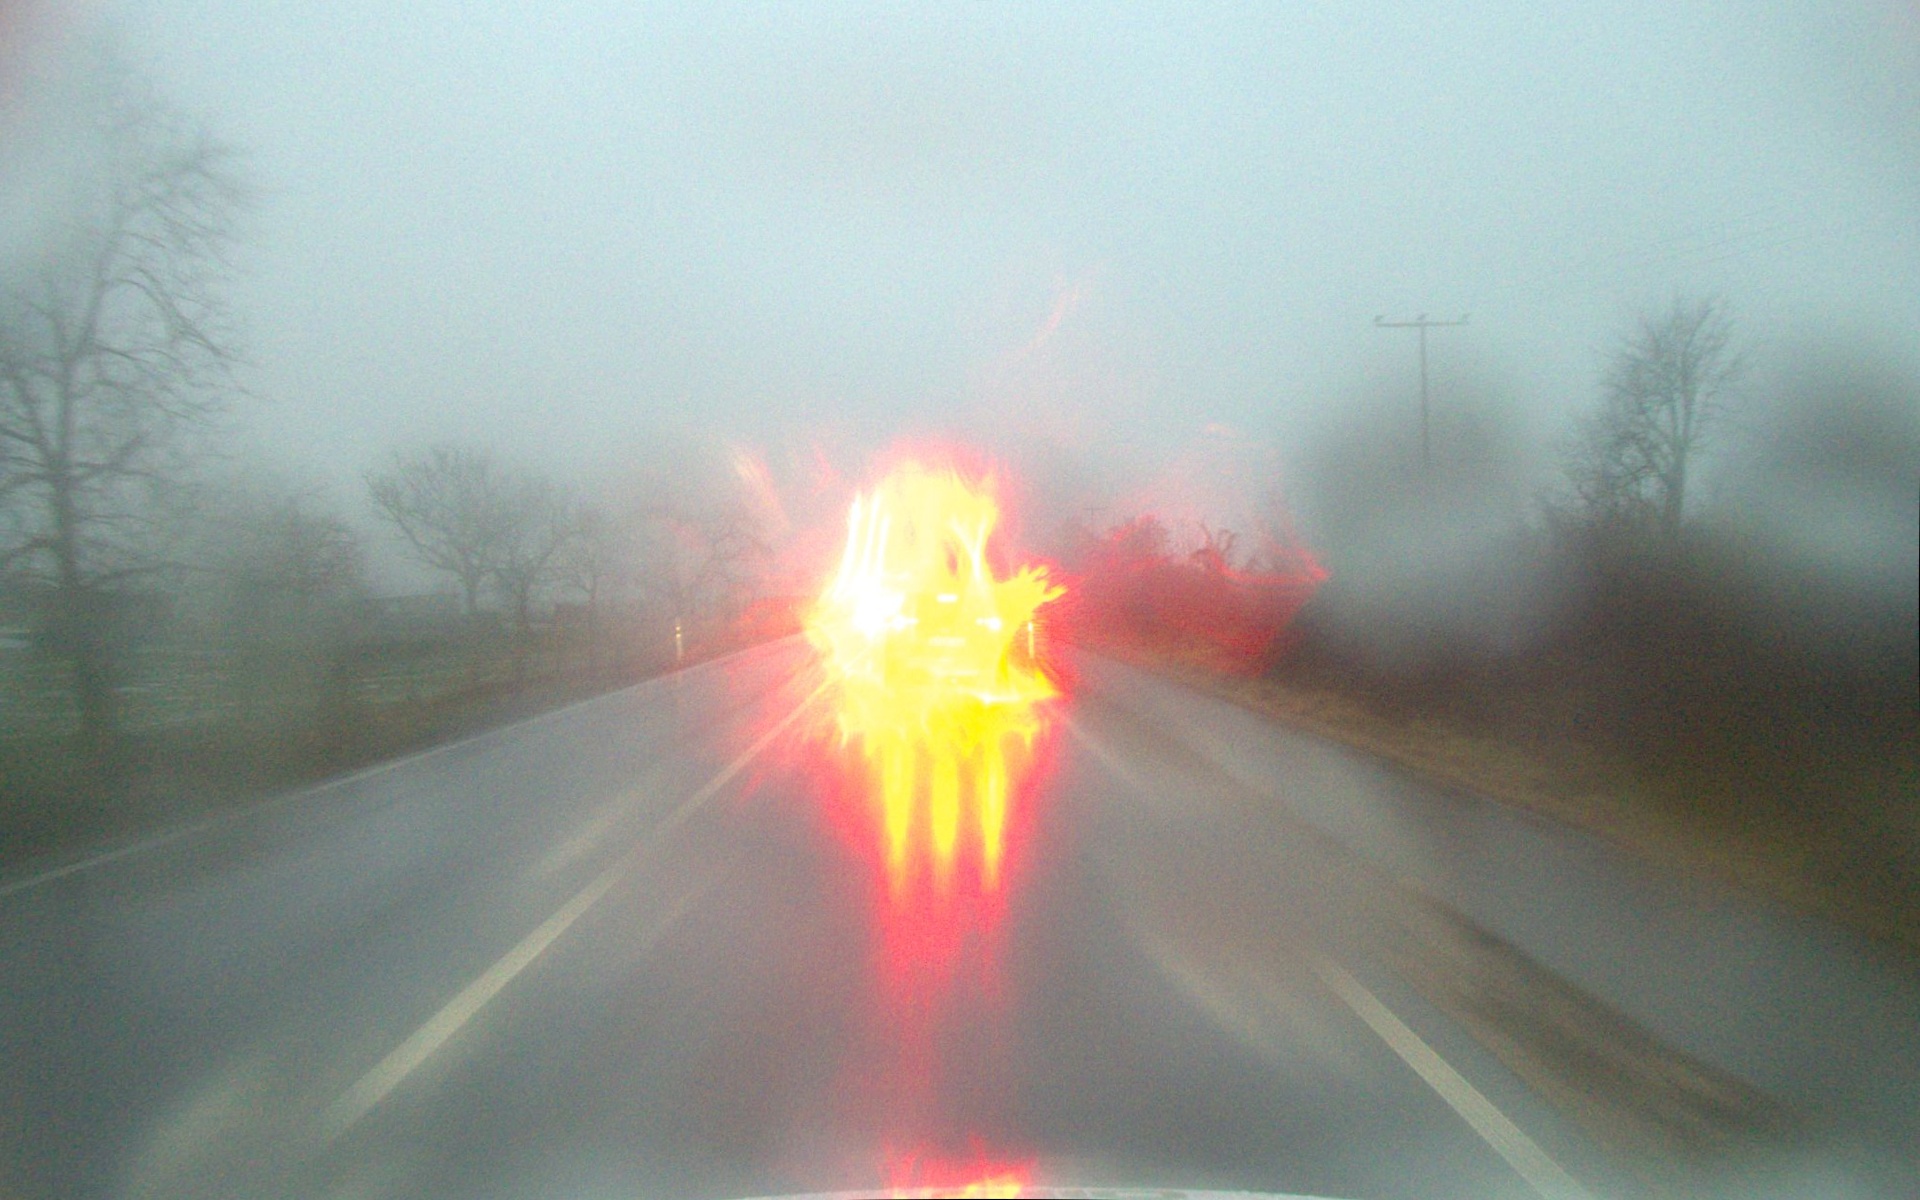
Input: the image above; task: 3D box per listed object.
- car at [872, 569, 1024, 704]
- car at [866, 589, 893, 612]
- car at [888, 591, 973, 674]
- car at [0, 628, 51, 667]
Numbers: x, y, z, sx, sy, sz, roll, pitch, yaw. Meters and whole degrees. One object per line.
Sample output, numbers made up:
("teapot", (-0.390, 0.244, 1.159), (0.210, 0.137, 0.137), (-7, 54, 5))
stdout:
("car", (-0.200, 0.488, 25.247), (2.077, 1.852, 4.979), (0, 0, -1))
("car", (-5.708, 0.009, 117.558), (1.818, 1.543, 4.513), (-2, 0, -3))
("car", (-0.713, 0.759, 40.349), (1.953, 1.881, 3.999), (1, 0, -1))
("car", (-35.166, 1.698, 60.103), (3.384, 1.366, 1.593), (1, 0, -15))
